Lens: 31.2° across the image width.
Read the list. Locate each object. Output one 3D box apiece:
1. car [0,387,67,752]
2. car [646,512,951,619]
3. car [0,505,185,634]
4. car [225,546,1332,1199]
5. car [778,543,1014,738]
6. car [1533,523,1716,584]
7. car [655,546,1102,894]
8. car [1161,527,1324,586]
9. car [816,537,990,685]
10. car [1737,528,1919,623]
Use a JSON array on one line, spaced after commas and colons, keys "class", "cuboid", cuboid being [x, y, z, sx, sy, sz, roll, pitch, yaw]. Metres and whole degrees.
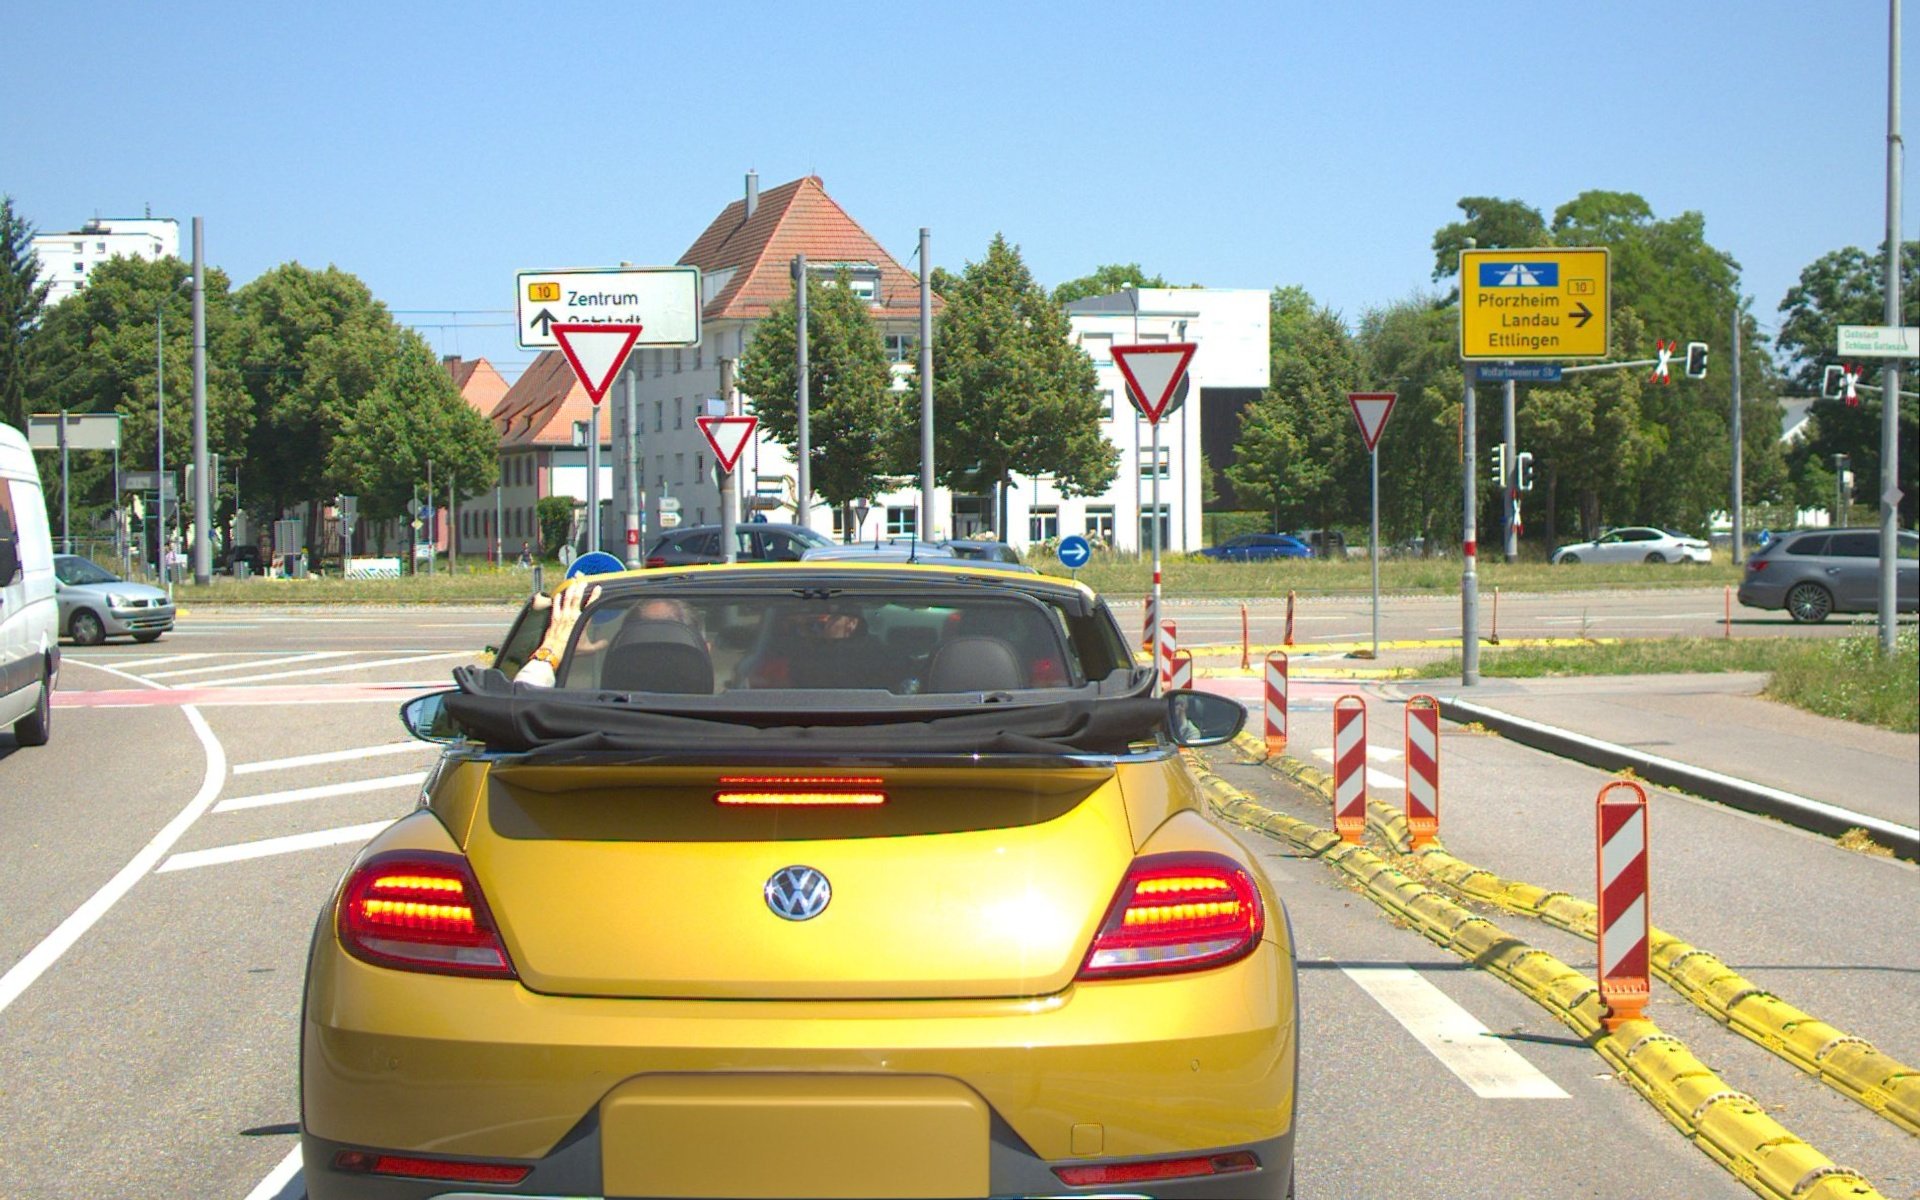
[{"class": "car", "cuboid": [-7.900, -0.224, 25.117, 2.019, 2.530, 6.830, -1, 1, -10]}, {"class": "car", "cuboid": [-2.455, -0.539, 52.999, 4.433, 1.590, 2.000, 0, 1, 6]}, {"class": "car", "cuboid": [-13.725, -0.444, 51.780, 3.669, 1.843, 1.631, -1, 0, 20]}, {"class": "car", "cuboid": [-0.319, 0.598, 7.347, 1.752, 1.417, 3.778, 0, 1, -1]}, {"class": "car", "cuboid": [-0.492, 0.268, 27.382, 1.736, 1.437, 4.000, 0, 1, -1]}, {"class": "car", "cuboid": [20.581, -1.433, 106.594, 5.174, 1.780, 2.022, -1, 1, 38]}, {"class": "car", "cuboid": [-0.361, 0.469, 16.289, 1.848, 1.437, 4.000, 0, 1, -1]}, {"class": "car", "cuboid": [9.259, -1.426, 112.777, 4.921, 1.780, 2.024, -1, 1, 23]}, {"class": "car", "cuboid": [-0.592, 0.074, 36.360, 1.736, 1.472, 4.000, 0, 1, -1]}, {"class": "car", "cuboid": [13.725, -0.372, 51.159, 4.196, 1.386, 1.900, 0, 1, 13]}]
